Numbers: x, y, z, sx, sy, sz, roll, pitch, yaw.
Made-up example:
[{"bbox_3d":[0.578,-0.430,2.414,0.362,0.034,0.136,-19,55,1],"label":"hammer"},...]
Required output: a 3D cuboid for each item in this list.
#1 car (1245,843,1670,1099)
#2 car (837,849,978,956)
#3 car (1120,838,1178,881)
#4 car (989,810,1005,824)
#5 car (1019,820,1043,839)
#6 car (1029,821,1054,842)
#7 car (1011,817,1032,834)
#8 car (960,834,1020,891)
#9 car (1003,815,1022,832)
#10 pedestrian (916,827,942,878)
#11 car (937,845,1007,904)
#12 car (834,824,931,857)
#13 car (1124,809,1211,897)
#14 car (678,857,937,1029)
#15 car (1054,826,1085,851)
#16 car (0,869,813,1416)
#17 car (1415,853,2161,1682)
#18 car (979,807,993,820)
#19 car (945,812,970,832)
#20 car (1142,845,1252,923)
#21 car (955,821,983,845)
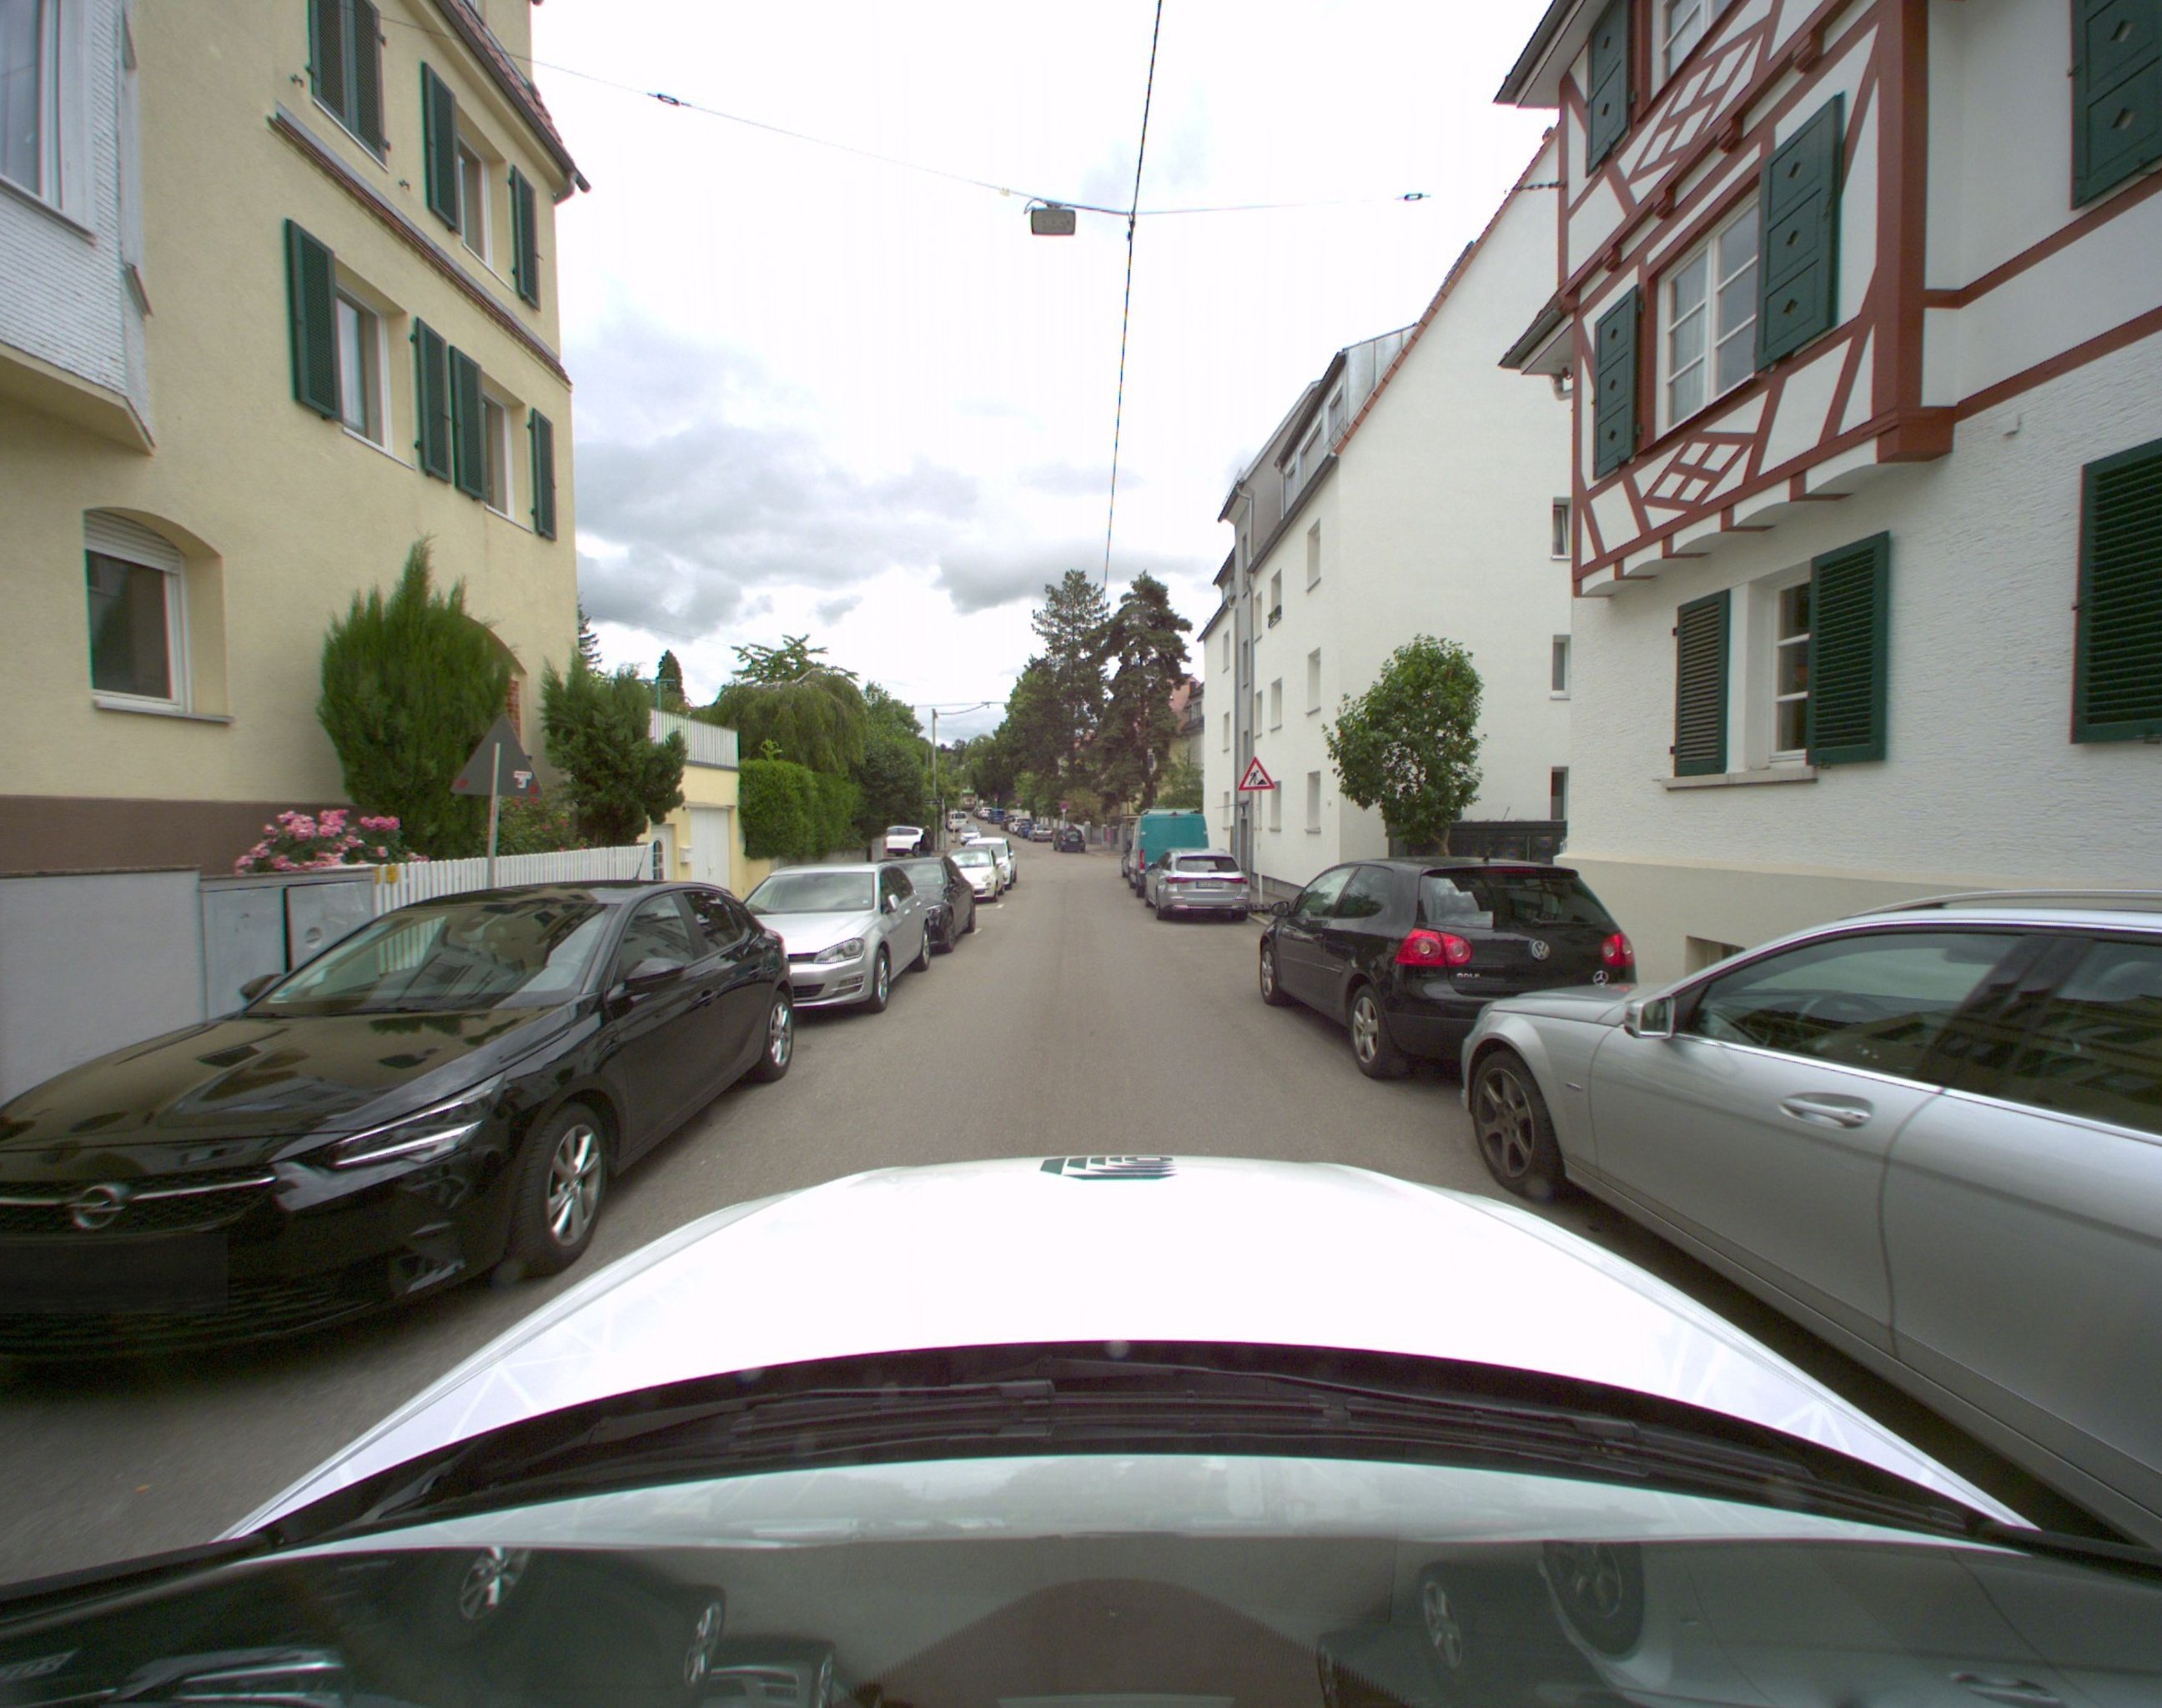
[{"bbox_3d":[2.657,0.690,6.821,1.685,1.519,3.878,0,0,-2],"label":"car"},{"bbox_3d":[-2.741,0.685,13.697,1.592,1.478,3.988,-2,0,-2],"label":"car"},{"bbox_3d":[2.452,0.148,30.316,1.720,1.448,3.878,-1,1,-2],"label":"car"},{"bbox_3d":[-9.931,-4.391,96.649,1.634,1.537,3.519,0,4,-10],"label":"car"},{"bbox_3d":[-4.378,-2.175,70.838,1.634,1.483,3.519,0,4,-10],"label":"car"},{"bbox_3d":[-3.233,-1.832,66.016,1.634,1.483,3.519,0,4,-10],"label":"car"},{"bbox_3d":[-5.611,-2.700,76.573,1.634,1.537,3.519,0,4,-10],"label":"car"},{"bbox_3d":[-3.010,0.225,27.616,1.668,1.656,3.861,-2,3,-2],"label":"car"},{"bbox_3d":[-6.997,-3.123,82.552,1.634,1.537,3.519,0,4,-10],"label":"car"},{"bbox_3d":[-5.841,-0.063,31.358,0.788,1.932,0.920,0,1,1],"label":"pedestrian"},{"bbox_3d":[-3.031,0.520,23.231,1.592,1.412,3.660,-2,2,-2],"label":"car"},{"bbox_3d":[-10.605,-0.716,43.875,1.975,1.640,4.842,1,1,41],"label":"car"},{"bbox_3d":[2.446,-0.076,24.107,1.975,2.362,4.274,-1,1,-2],"label":"car"},{"bbox_3d":[-2.741,0.787,9.133,1.638,1.416,3.981,-2,0,-2],"label":"car"},{"bbox_3d":[-0.789,-1.029,54.247,1.634,1.483,3.521,0,4,-9],"label":"car"},{"bbox_3d":[-2.773,0.838,4.193,1.638,1.387,3.855,-2,0,-3],"label":"car"},{"bbox_3d":[2.784,0.734,2.220,1.814,1.442,4.448,0,0,-2],"label":"car"},{"bbox_3d":[-12.483,-5.342,106.798,1.634,1.537,3.519,0,4,-10],"label":"car"},{"bbox_3d":[-12.416,-3.267,81.704,1.907,1.876,4.572,-2,3,-15],"label":"car"},{"bbox_3d":[2.385,0.562,17.669,1.720,1.448,3.878,-1,1,-2],"label":"car"},{"bbox_3d":[-8.737,-1.659,63.240,1.675,1.656,3.846,-2,3,-14],"label":"car"}]
